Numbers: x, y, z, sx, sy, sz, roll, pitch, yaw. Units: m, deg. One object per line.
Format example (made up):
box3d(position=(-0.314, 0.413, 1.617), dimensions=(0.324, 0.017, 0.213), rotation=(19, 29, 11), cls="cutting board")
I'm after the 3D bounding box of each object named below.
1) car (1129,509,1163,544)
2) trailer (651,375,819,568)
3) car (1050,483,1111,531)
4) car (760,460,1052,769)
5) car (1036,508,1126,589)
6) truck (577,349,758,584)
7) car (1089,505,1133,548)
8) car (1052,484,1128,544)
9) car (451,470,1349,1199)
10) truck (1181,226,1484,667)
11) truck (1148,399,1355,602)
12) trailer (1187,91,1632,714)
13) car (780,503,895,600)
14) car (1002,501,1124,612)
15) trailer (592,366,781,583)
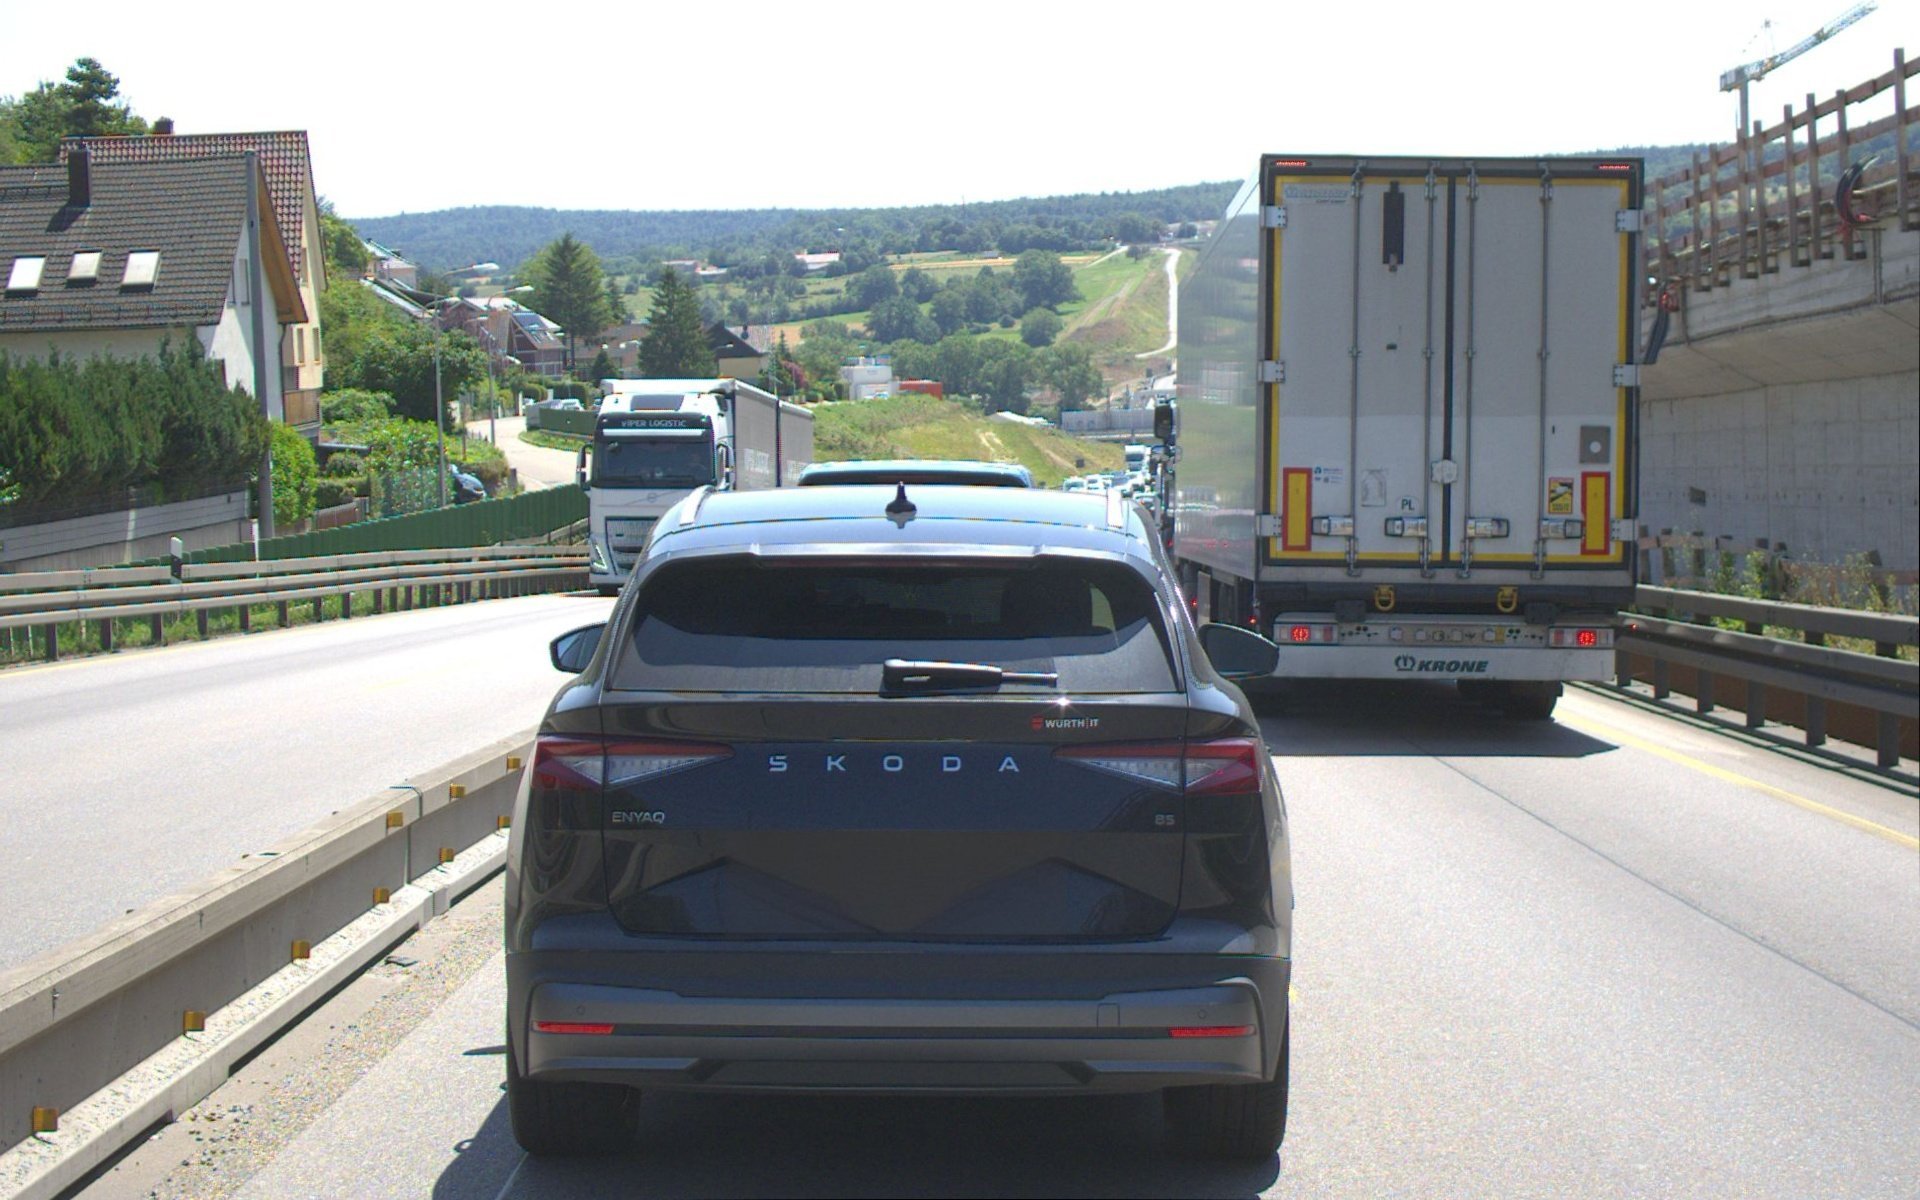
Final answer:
box3d(position=(9.584, -3.754, 176.919), dimensions=(1.701, 1.722, 3.836), rotation=(1, 0, 4), cls="car")
box3d(position=(-4.942, -2.889, 77.185), dimensions=(2.757, 4.056, 8.634), rotation=(1, 2, 3), cls="trailer")
box3d(position=(4.154, -3.199, 119.050), dimensions=(1.993, 1.579, 3.836), rotation=(1, 0, 0), cls="car")
box3d(position=(-0.443, 0.021, 23.093), dimensions=(1.706, 1.875, 4.001), rotation=(1, 2, -4), cls="car")
box3d(position=(2.570, -1.131, 73.787), dimensions=(1.707, 1.616, 4.001), rotation=(1, 2, -1), cls="car")
box3d(position=(-5.501, -2.513, 65.354), dimensions=(2.752, 4.268, 4.957), rotation=(1, 1, 3), cls="truck")
box3d(position=(6.330, -3.079, 143.876), dimensions=(1.701, 1.722, 3.836), rotation=(1, 0, 4), cls="car")
box3d(position=(3.643, -2.408, 96.769), dimensions=(1.993, 1.579, 3.836), rotation=(1, 0, 0), cls="car")
box3d(position=(-0.260, 0.518, 9.063), dimensions=(1.842, 1.581, 3.908), rotation=(1, 0, -4), cls="car")
box3d(position=(3.678, -1.439, 35.622), dimensions=(2.513, 4.011, 8.237), rotation=(1, 0, 2), cls="truck")
box3d(position=(4.933, -1.624, 60.518), dimensions=(3.195, 3.180, 12.807), rotation=(0, 0, 3), cls="truck")
box3d(position=(3.370, -1.362, 28.651), dimensions=(2.532, 4.113, 11.547), rotation=(1, 0, 2), cls="trailer")
box3d(position=(-2.092, -0.830, 59.721), dimensions=(1.859, 1.605, 4.069), rotation=(1, 0, 0), cls="car")
box3d(position=(1.560, -0.708, 53.317), dimensions=(1.707, 1.616, 4.001), rotation=(1, 2, -1), cls="car")
box3d(position=(-5.370, -2.515, 68.877), dimensions=(2.757, 4.056, 8.007), rotation=(1, 2, 3), cls="trailer")
